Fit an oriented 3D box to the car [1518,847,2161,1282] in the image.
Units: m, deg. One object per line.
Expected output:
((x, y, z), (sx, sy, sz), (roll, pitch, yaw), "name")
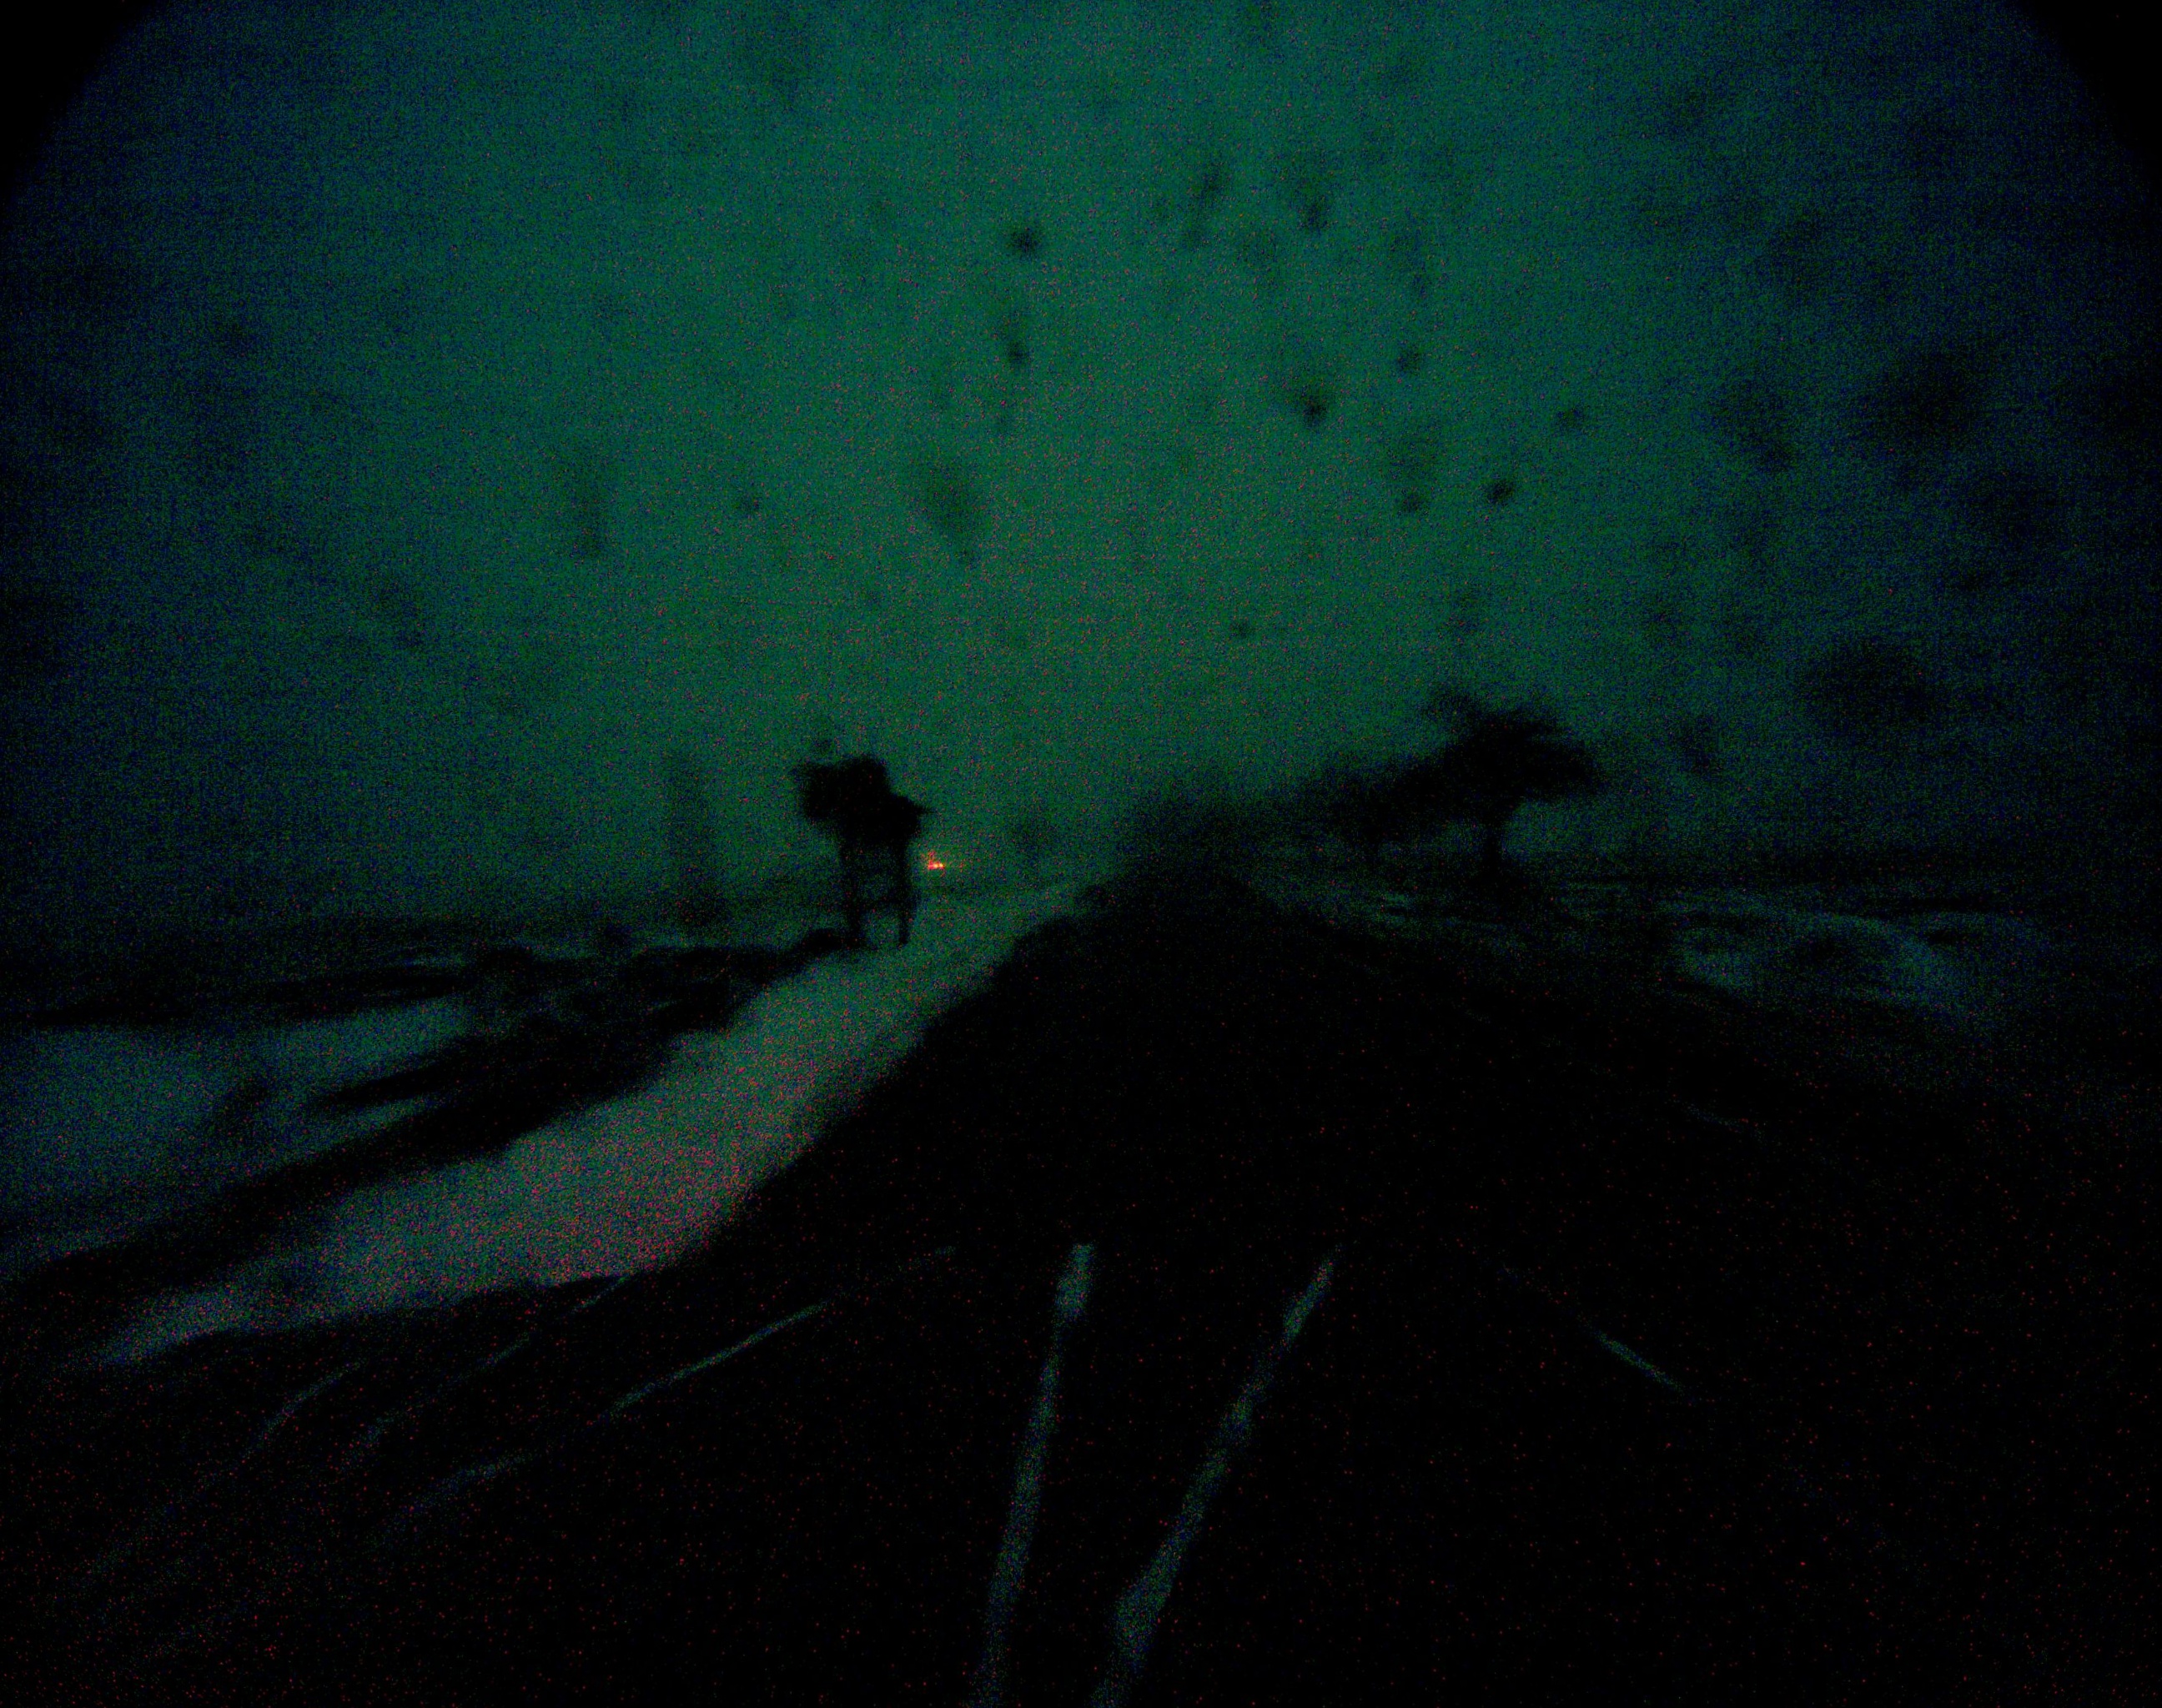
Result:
((3.940, 0.763, 4.247), (1.525, 1.499, 3.054), (-2, 1, 8), "car")
